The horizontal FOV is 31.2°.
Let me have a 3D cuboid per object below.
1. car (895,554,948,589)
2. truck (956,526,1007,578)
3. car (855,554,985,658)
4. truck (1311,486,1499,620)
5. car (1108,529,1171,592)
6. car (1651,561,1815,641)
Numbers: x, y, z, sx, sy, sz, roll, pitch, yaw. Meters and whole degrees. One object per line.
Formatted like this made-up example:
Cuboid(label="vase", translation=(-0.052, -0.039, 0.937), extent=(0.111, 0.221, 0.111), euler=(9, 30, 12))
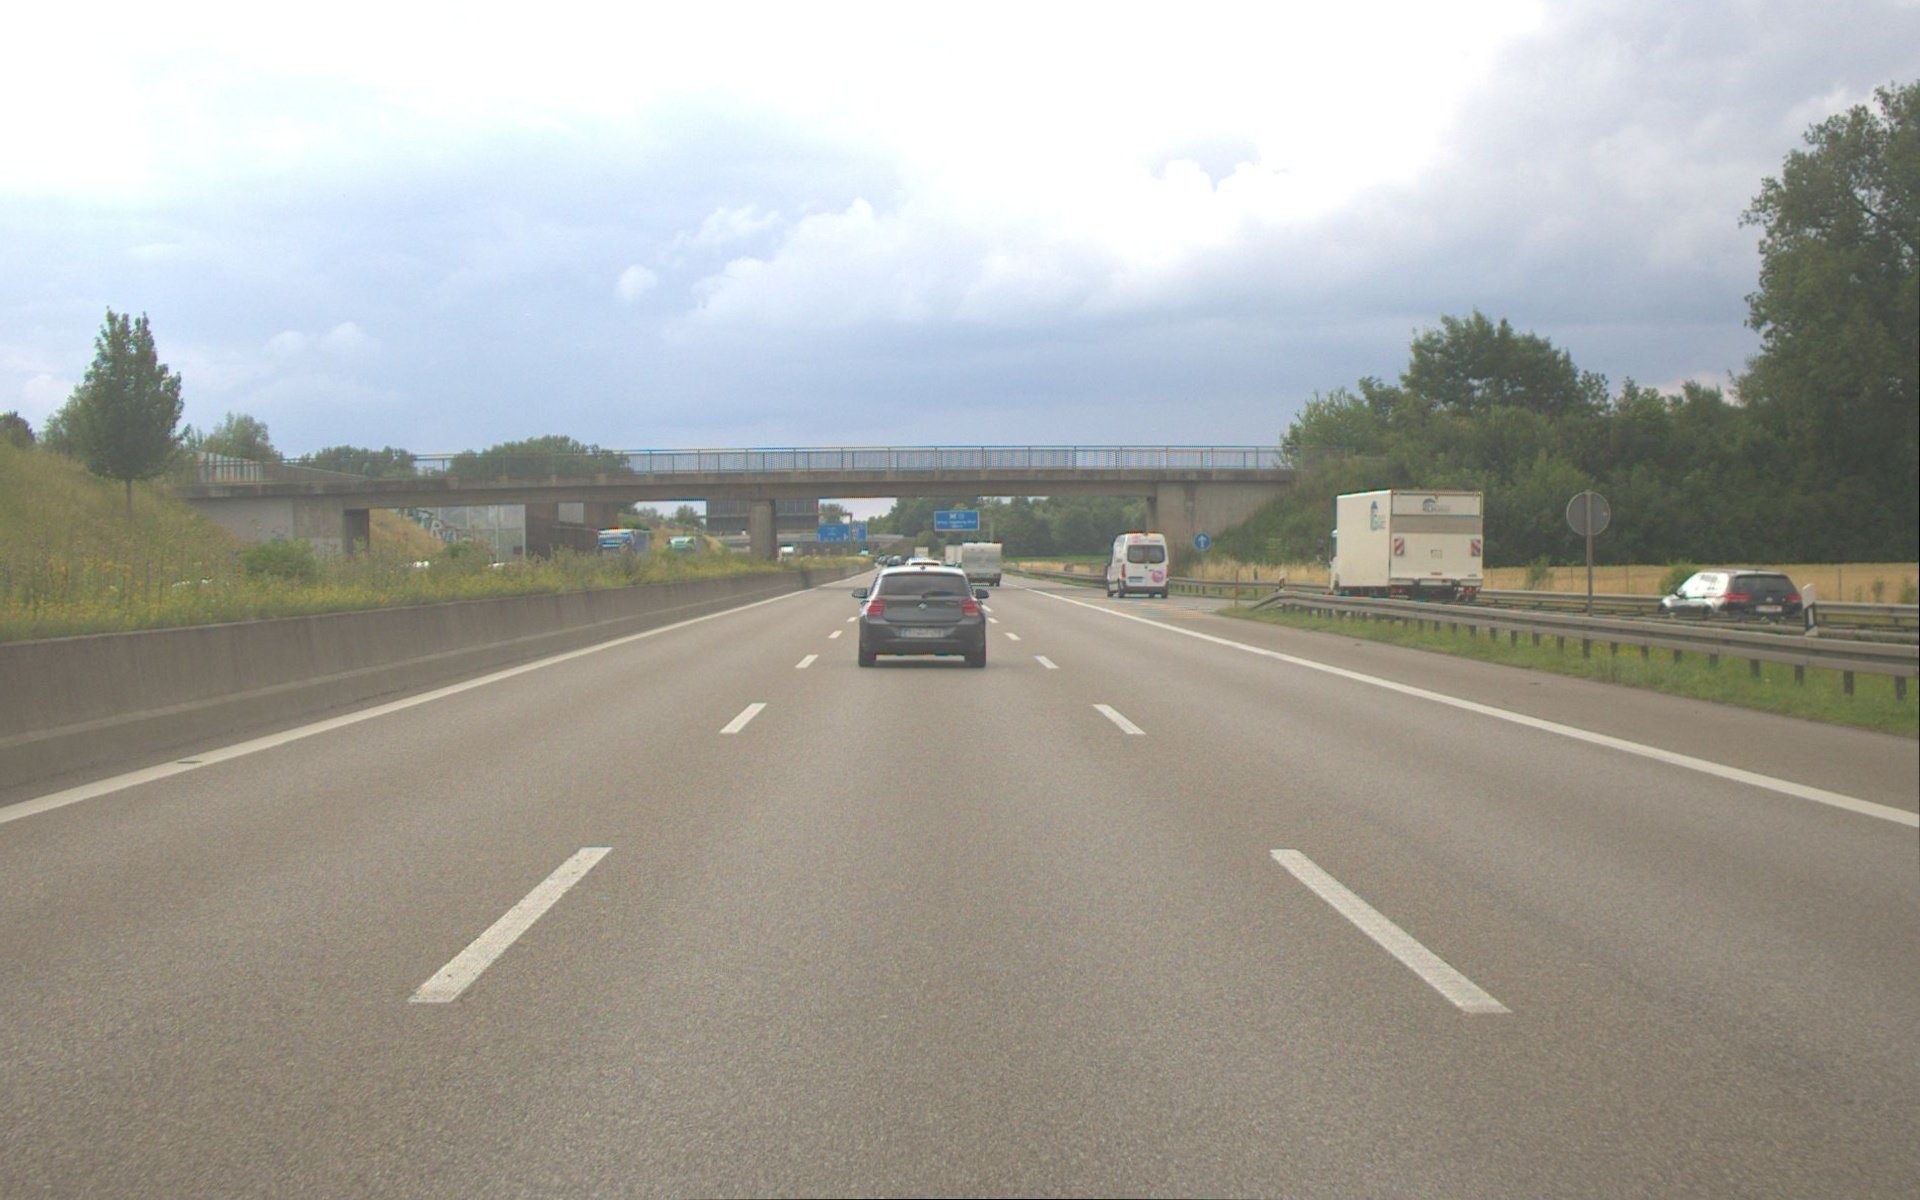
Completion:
Cuboid(label="car", translation=(-1.493, -1.089, 131.687), extent=(1.993, 1.294, 4.000), euler=(-1, 1, -1))
Cuboid(label="truck", translation=(1.250, -2.878, 206.000), extent=(2.710, 2.954, 12.447), euler=(1, 1, -1))
Cuboid(label="car", translation=(-0.565, 0.051, 48.638), extent=(1.743, 1.384, 4.000), euler=(1, 1, -1))
Cuboid(label="truck", translation=(12.189, -1.293, 95.121), extent=(3.104, 3.459, 8.893), euler=(1, 1, -6))
Cuboid(label="car", translation=(7.425, -1.659, 142.712), extent=(2.221, 2.559, 6.256), euler=(0, 1, -1))
Cuboid(label="car", translation=(15.745, -0.010, 70.272), extent=(1.917, 1.545, 4.924), euler=(-1, 1, -4))
